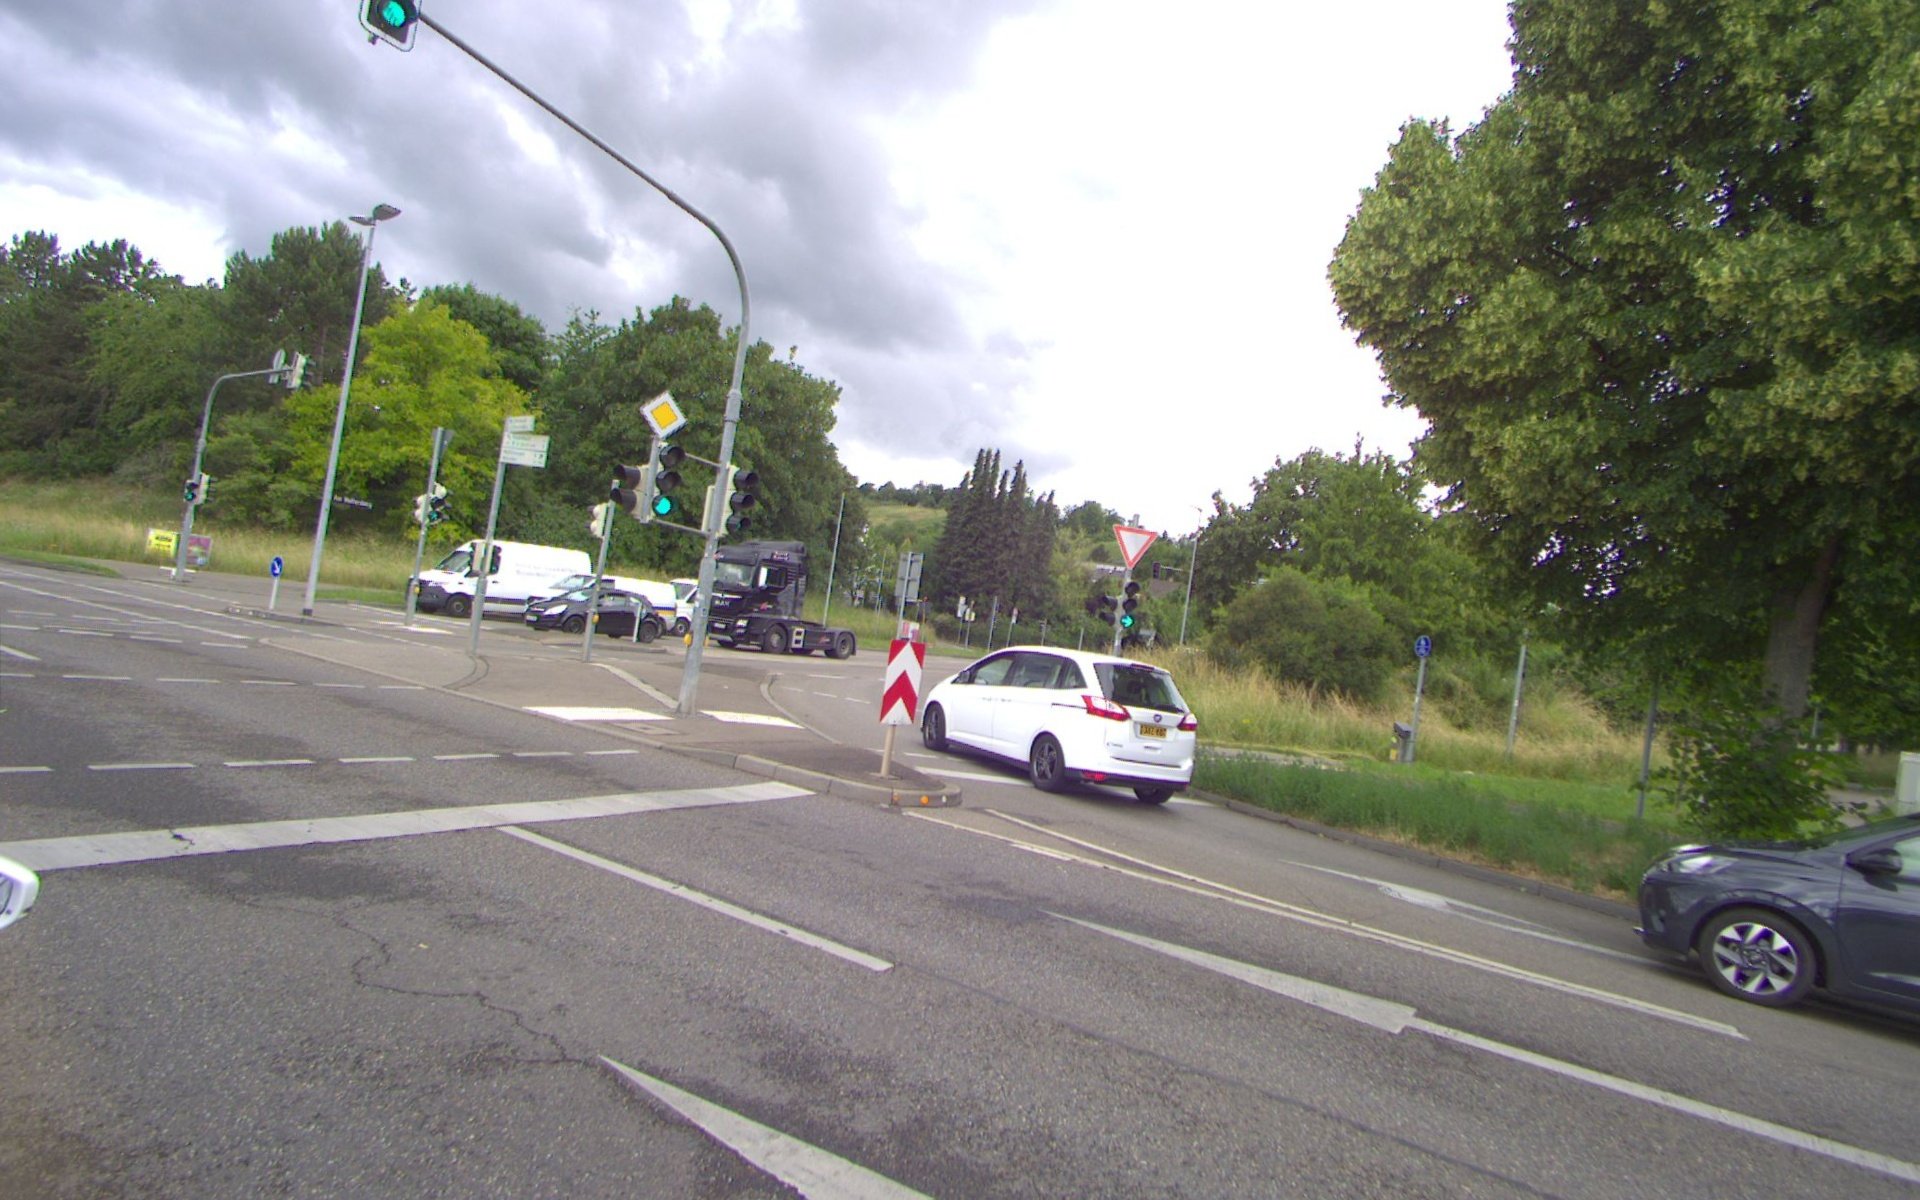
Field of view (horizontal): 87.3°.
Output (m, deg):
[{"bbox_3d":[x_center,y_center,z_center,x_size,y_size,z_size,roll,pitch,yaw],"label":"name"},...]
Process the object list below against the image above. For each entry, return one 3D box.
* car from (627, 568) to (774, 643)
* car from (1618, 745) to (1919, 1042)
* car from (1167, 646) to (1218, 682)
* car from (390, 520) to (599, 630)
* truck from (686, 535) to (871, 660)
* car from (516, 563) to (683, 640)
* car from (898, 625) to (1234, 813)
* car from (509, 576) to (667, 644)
[{"bbox_3d":[-10.422,0.289,40.907,2.100,2.316,5.709,7,-1,32],"label":"car"},{"bbox_3d":[6.318,1.958,6.140,3.564,1.445,1.621,6,-5,41],"label":"car"},{"bbox_3d":[20.609,5.694,88.880,2.160,2.640,6.509,7,-1,32],"label":"car"},{"bbox_3d":[-15.332,-0.736,33.599,2.100,2.814,5.903,7,-1,32],"label":"car"},{"bbox_3d":[-6.208,0.024,35.342,2.682,3.580,6.061,7,-1,32],"label":"truck"},{"bbox_3d":[-11.796,0.098,33.280,1.999,1.918,4.862,7,-1,31],"label":"car"},{"bbox_3d":[1.116,1.384,12.821,1.768,1.611,4.424,12,-4,-31],"label":"car"},{"bbox_3d":[-10.602,0.335,28.931,1.703,1.453,3.927,7,-1,31],"label":"car"}]
